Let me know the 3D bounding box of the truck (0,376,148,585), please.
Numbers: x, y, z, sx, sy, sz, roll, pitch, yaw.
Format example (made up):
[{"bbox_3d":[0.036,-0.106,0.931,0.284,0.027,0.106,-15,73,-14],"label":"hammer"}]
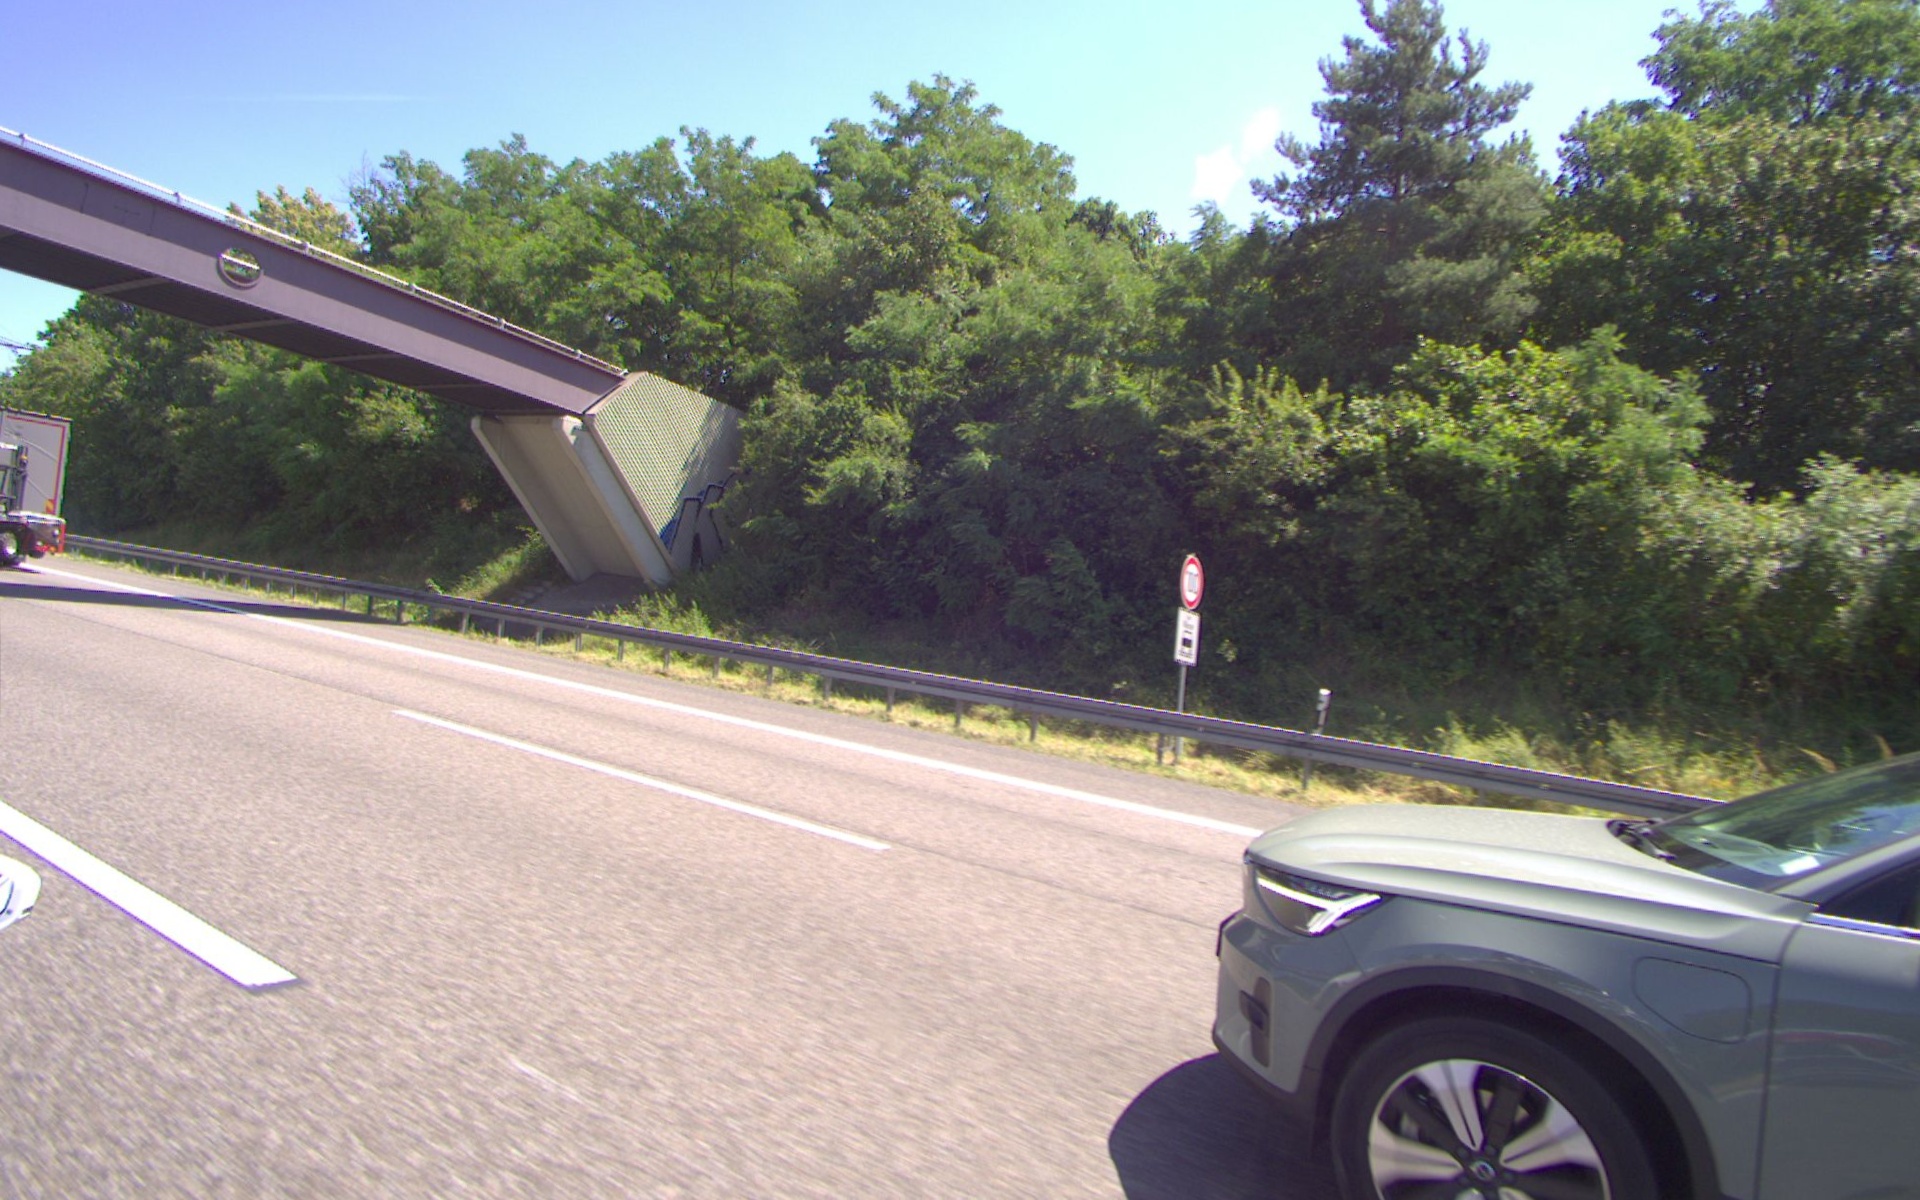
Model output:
[{"bbox_3d":[-25.737,-3.209,25.844,11.458,4.293,3.579,6,-2,31],"label":"truck"}]

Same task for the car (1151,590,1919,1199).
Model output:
[{"bbox_3d":[3.059,1.096,2.378,4.623,1.631,1.883,7,-1,31],"label":"car"}]
